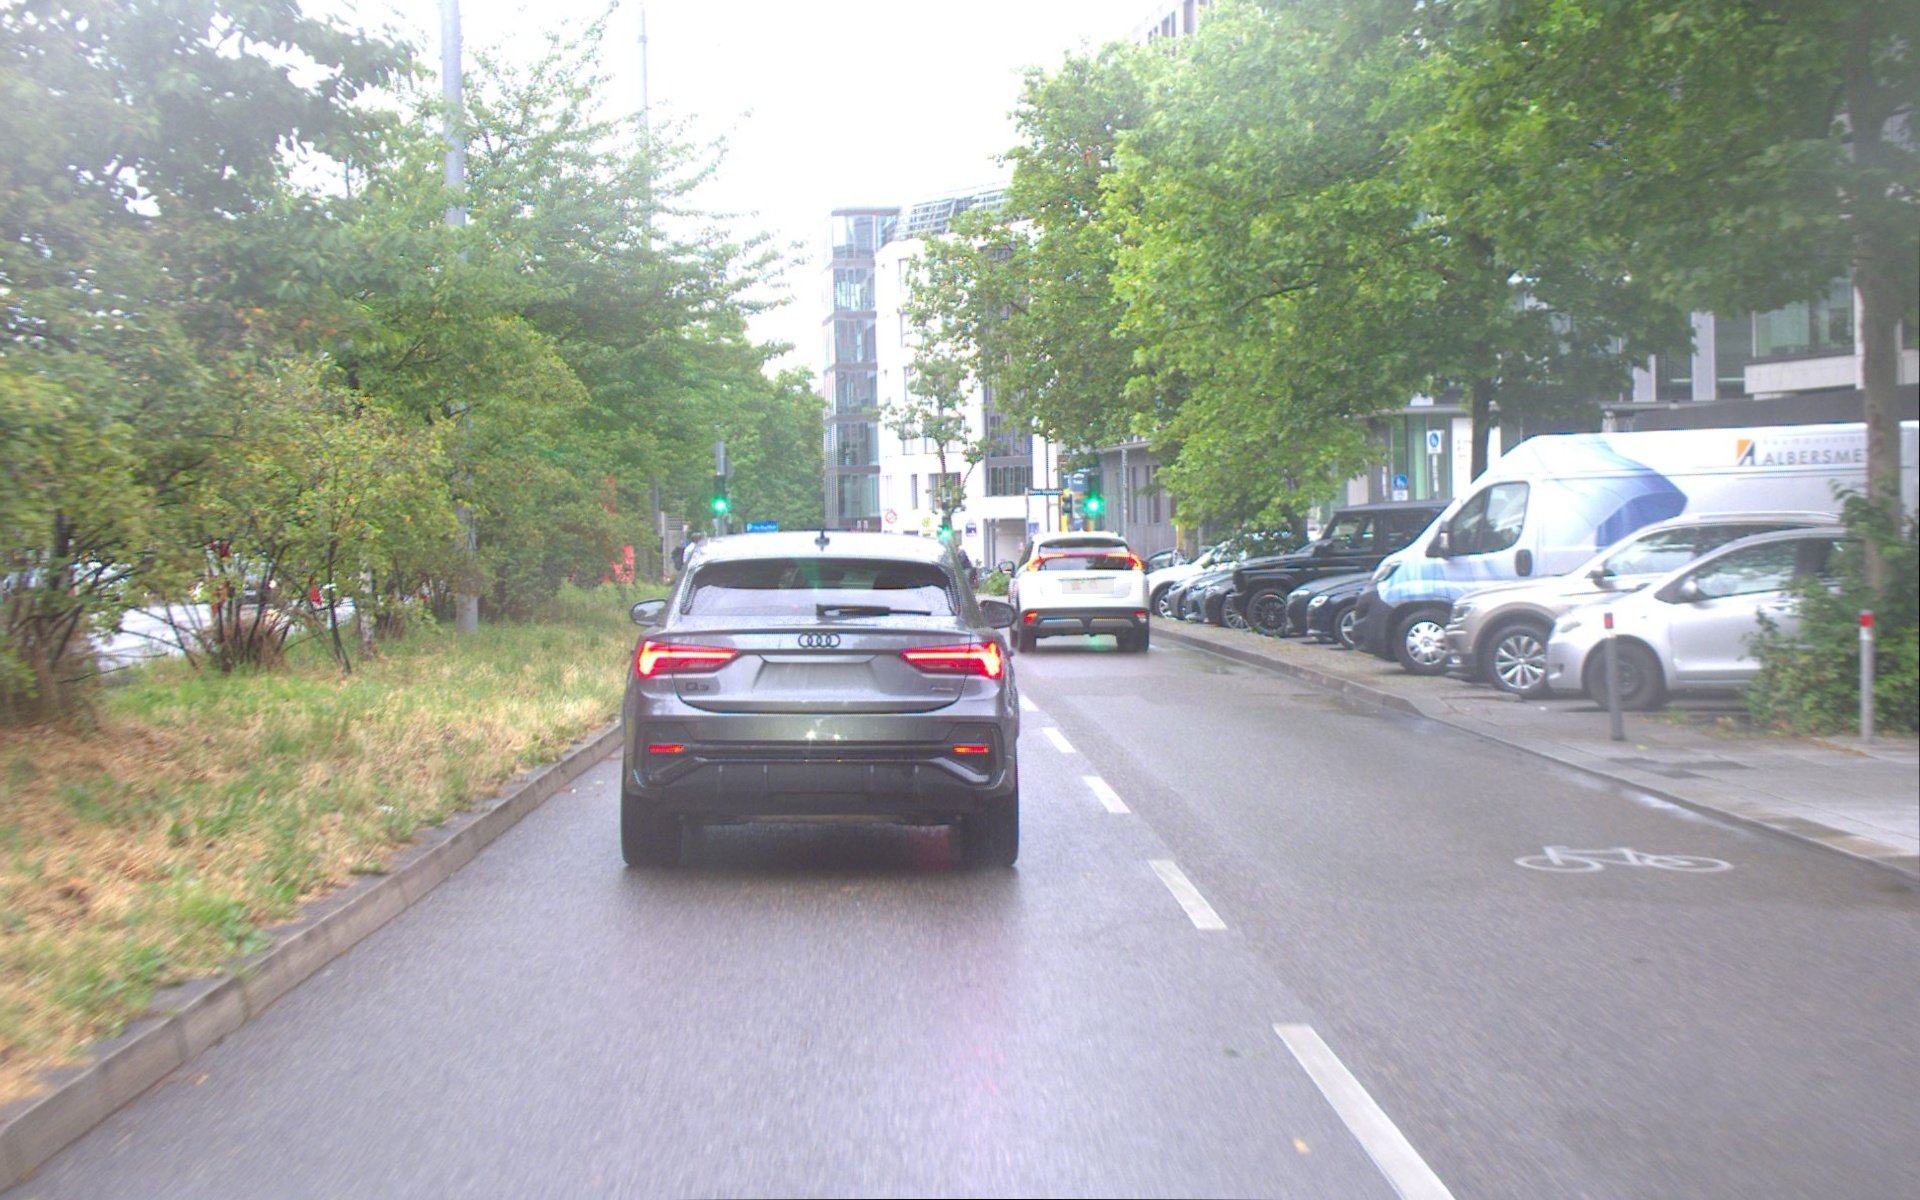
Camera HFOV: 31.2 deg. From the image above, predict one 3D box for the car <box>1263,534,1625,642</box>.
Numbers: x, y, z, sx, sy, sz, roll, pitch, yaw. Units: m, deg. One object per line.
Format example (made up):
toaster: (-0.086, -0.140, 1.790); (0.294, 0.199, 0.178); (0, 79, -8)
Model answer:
car: (6.738, -0.161, 47.977); (4.629, 1.390, 1.844); (-1, 0, 28)

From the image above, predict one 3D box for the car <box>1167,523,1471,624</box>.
car: (5.978, -0.445, 57.125); (4.777, 1.528, 1.868); (-1, 1, 14)

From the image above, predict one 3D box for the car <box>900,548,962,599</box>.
car: (-0.864, -0.817, 104.237); (1.849, 1.518, 4.039); (0, 1, 0)

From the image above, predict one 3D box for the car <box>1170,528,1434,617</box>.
car: (6.127, -0.493, 61.635); (4.300, 1.483, 1.840); (-1, 1, 29)

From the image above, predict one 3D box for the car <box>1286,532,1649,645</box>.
car: (6.644, -0.157, 45.059); (4.371, 1.431, 1.759); (0, 1, 26)

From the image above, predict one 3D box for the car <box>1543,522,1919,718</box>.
car: (6.764, 0.140, 28.267); (3.652, 1.542, 1.713); (0, 1, 19)

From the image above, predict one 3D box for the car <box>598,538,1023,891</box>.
car: (-0.689, 0.462, 17.016); (1.849, 1.518, 4.039); (0, 1, -1)

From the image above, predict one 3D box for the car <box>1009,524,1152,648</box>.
car: (1.643, -0.218, 48.090); (1.849, 1.663, 4.039); (0, 1, 0)

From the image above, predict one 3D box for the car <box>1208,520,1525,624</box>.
car: (6.361, -0.435, 53.859); (4.559, 1.501, 1.867); (-1, 1, 24)

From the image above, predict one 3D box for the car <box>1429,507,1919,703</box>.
car: (6.556, 0.010, 31.009); (4.262, 1.662, 1.816); (1, 1, 26)

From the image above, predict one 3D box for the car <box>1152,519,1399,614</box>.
car: (5.948, -0.631, 64.841); (4.223, 1.663, 1.836); (-1, 1, 27)

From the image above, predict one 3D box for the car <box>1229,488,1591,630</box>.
car: (6.684, -0.608, 51.102); (4.943, 1.972, 1.927); (-1, 1, 26)

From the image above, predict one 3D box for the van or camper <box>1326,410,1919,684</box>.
van or camper: (6.879, -0.508, 34.196); (6.074, 2.549, 2.102); (0, 1, 27)

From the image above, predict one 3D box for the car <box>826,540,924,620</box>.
car: (-1.651, -0.411, 67.875); (1.849, 1.518, 4.039); (0, 1, 0)

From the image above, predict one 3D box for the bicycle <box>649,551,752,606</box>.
bicycle: (-5.910, -0.482, 78.341); (2.254, 1.158, 0.751); (2, 0, -1)

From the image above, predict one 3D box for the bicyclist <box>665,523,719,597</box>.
bicyclist: (-6.100, -0.910, 78.341); (1.104, 1.616, 0.751); (2, 0, -1)
